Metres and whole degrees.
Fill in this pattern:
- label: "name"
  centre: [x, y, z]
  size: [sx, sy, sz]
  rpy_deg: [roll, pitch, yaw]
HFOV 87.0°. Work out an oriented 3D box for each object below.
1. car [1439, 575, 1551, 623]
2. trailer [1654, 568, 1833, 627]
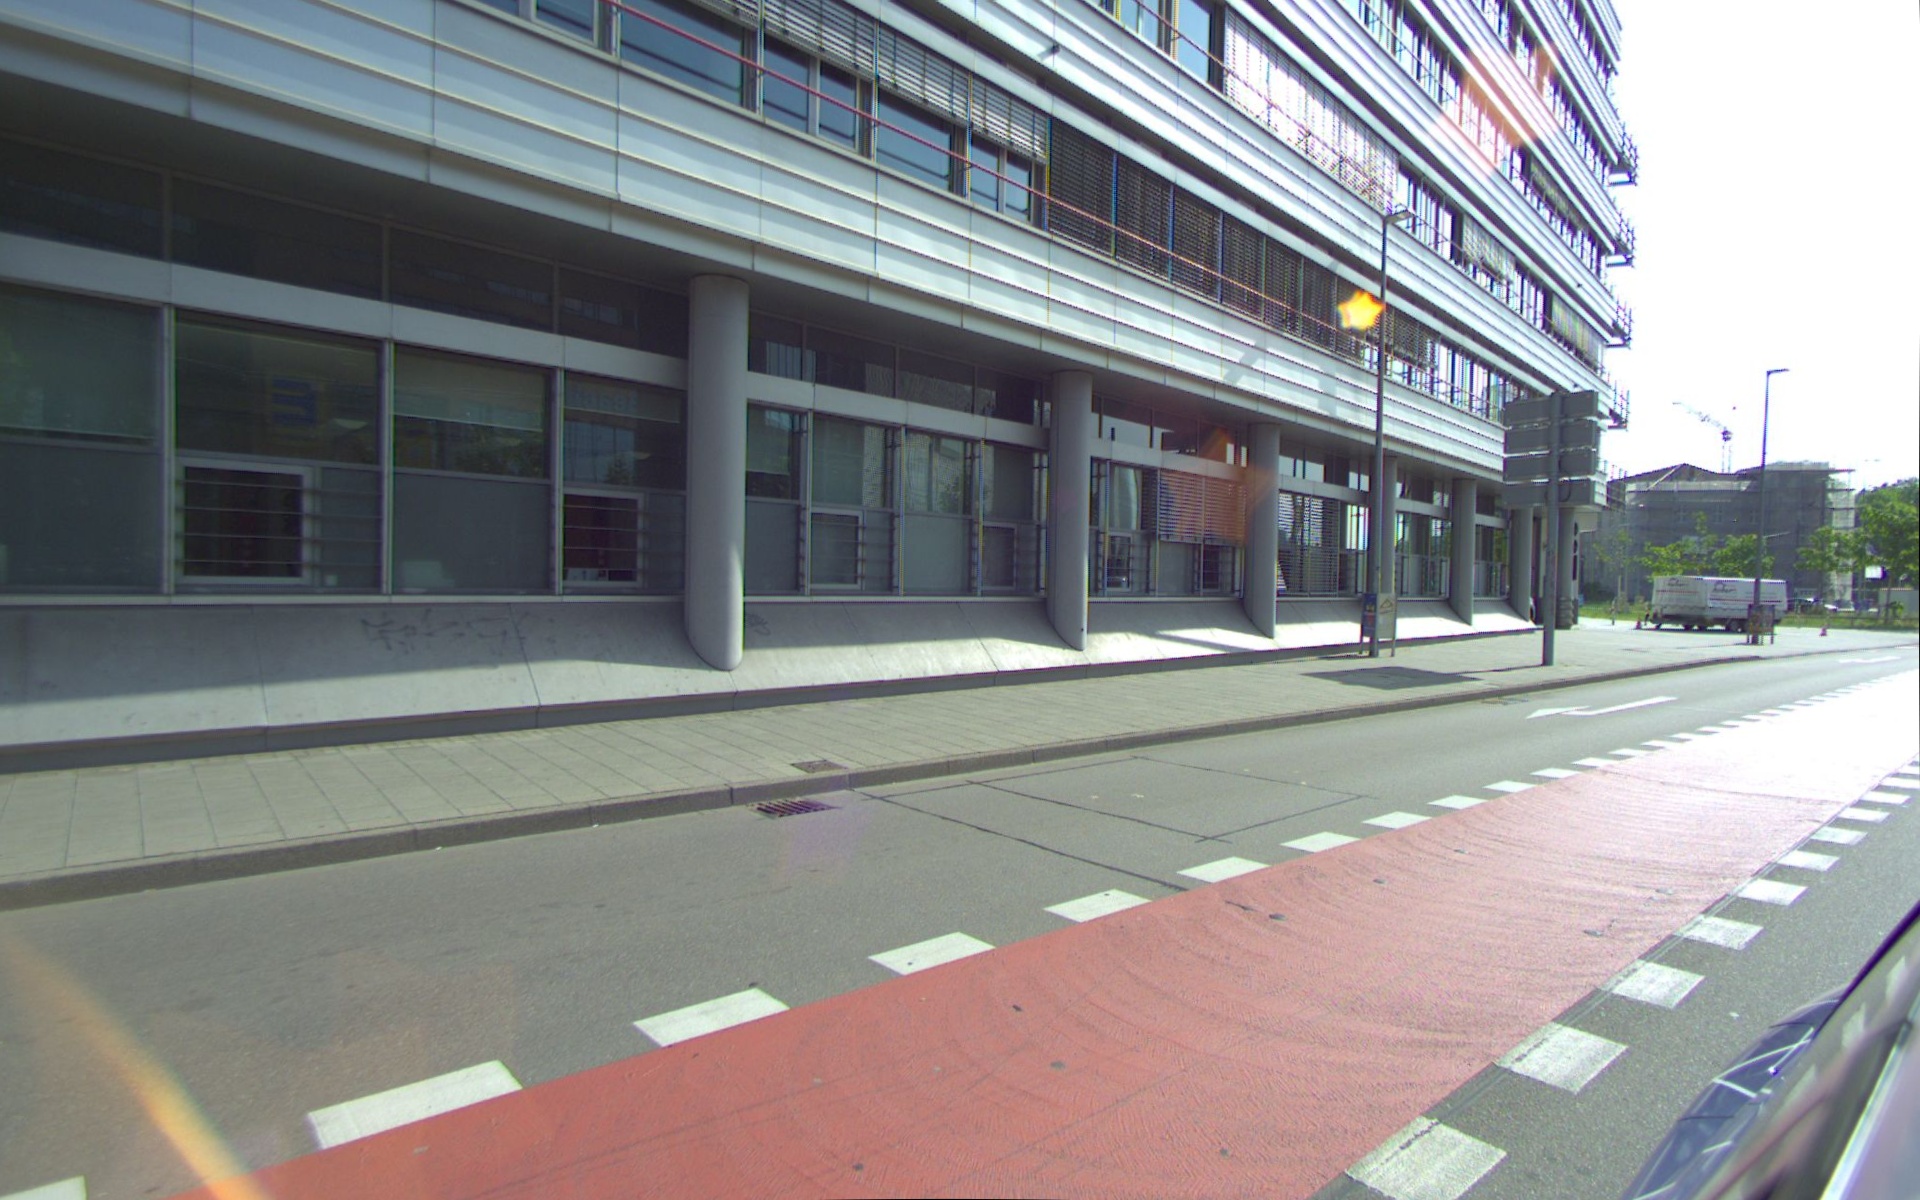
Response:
- label: "car"
  centre: [19.463, -0.041, 36.780]
  size: [3.919, 1.609, 1.752]
  rpy_deg: [1, 1, -30]
- label: "trailer"
  centre: [30.948, -0.099, 40.030]
  size: [5.824, 2.178, 2.402]
  rpy_deg: [1, 1, -13]
